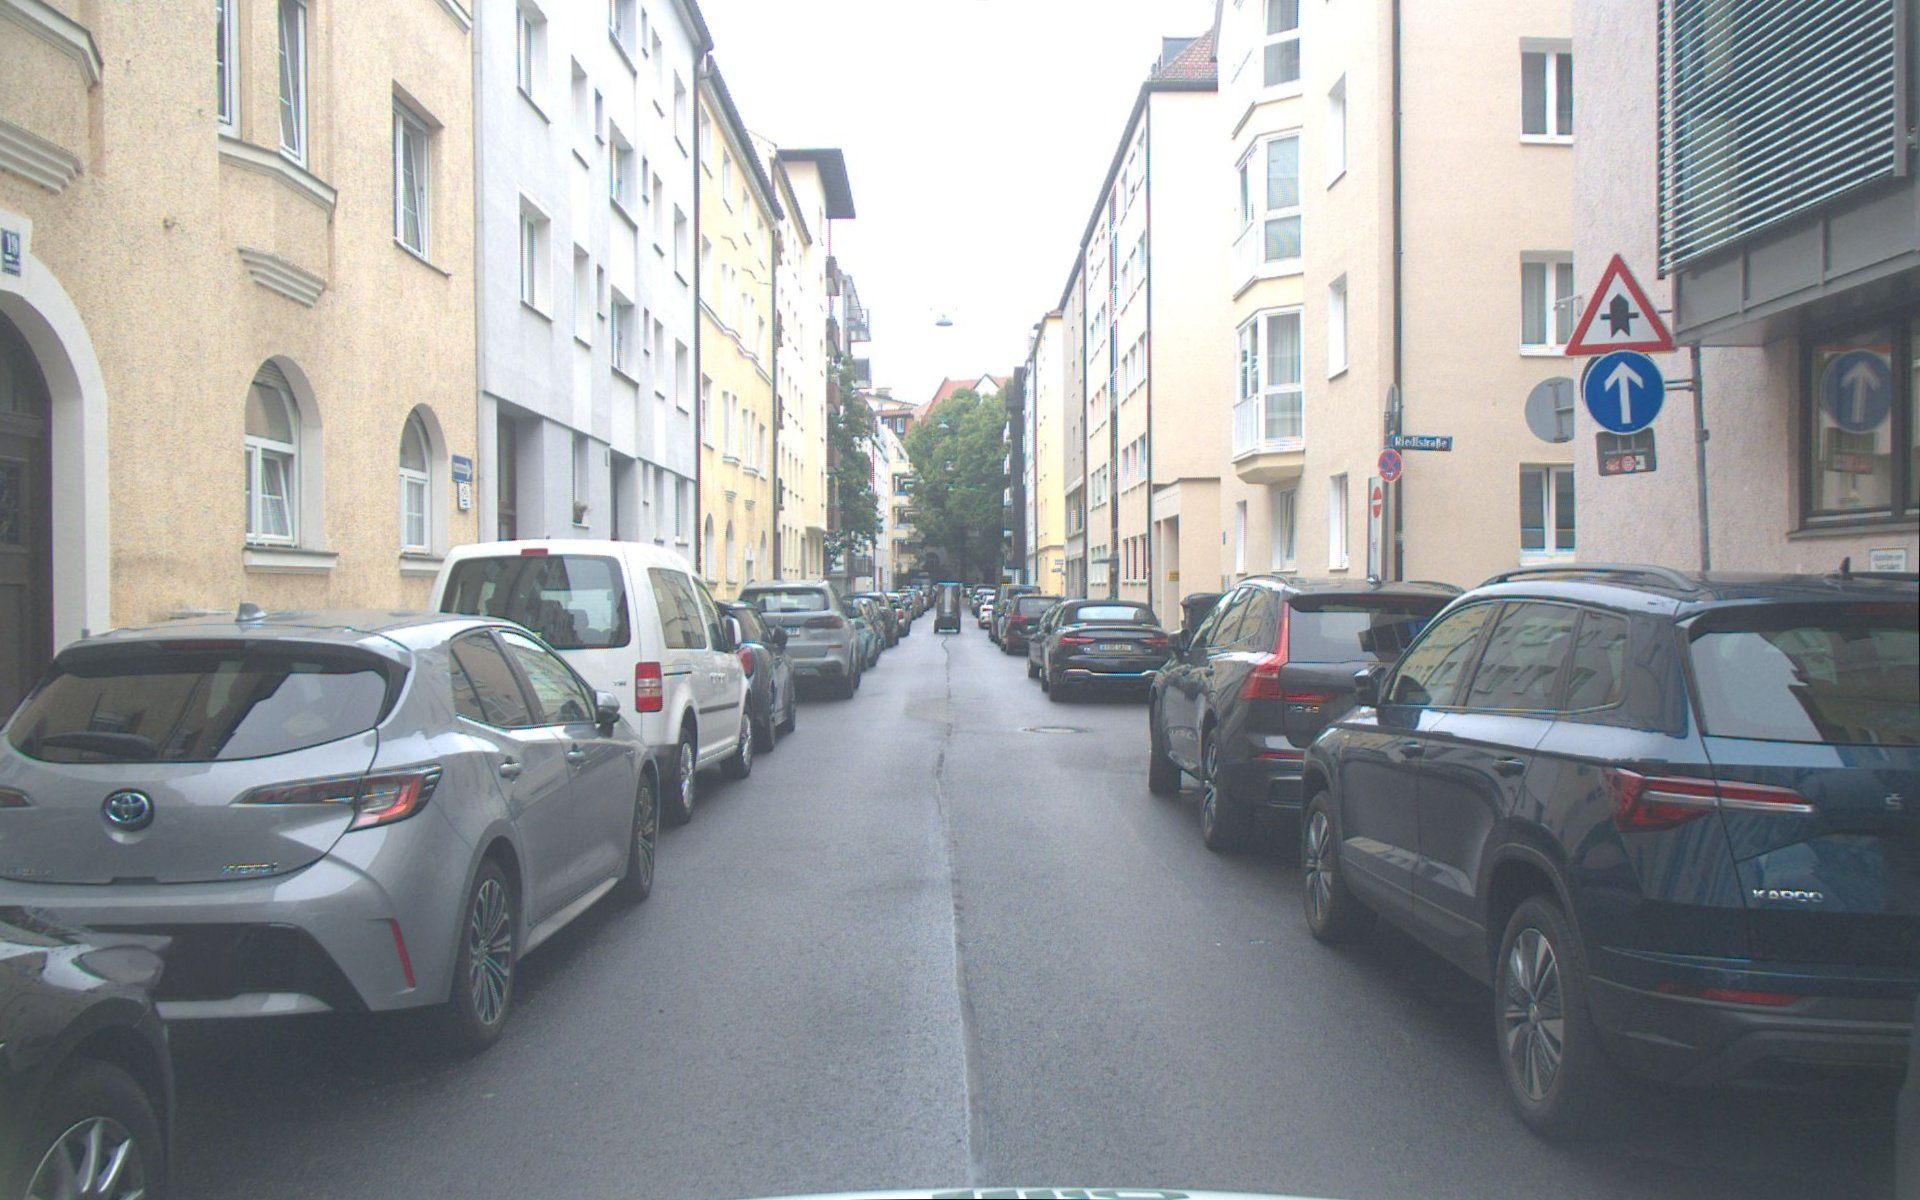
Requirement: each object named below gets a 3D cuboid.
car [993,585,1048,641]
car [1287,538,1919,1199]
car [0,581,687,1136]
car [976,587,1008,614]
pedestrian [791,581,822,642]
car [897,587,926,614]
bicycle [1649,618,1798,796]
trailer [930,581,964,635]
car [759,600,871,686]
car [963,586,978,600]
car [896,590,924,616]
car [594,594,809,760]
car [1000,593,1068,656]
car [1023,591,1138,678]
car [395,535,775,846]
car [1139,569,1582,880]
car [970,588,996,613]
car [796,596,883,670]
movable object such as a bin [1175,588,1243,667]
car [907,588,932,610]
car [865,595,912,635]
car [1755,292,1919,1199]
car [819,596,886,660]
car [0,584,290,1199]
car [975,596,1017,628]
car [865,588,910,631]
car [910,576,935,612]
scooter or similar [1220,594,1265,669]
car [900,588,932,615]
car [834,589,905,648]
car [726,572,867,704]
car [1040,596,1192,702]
[{"bbox_3d":[2.221,0.451,61.755,1.715,2.010,4.341,0,0,-2],"label":"car"},{"bbox_3d":[2.545,0.696,5.896,1.795,1.650,4.322,1,0,-1],"label":"car"},{"bbox_3d":[-2.295,0.757,6.705,1.637,1.501,4.111,-2,-1,0],"label":"car"},{"bbox_3d":[1.848,0.014,96.432,1.715,1.495,4.342,0,0,-1],"label":"car"},{"bbox_3d":[-4.595,0.331,49.496,0.822,1.795,1.067,0,0,-1],"label":"pedestrian"},{"bbox_3d":[-3.076,0.010,105.106,1.740,1.657,4.414,-1,1,-1],"label":"car"},{"bbox_3d":[5.384,0.718,11.737,0.349,1.141,1.543,0,0,0],"label":"bicycle"},{"bbox_3d":[-0.521,0.322,67.780,1.327,2.153,3.318,-1,-1,0],"label":"trailer"},{"bbox_3d":[-2.634,0.753,30.877,1.775,1.410,4.249,-2,0,-2],"label":"car"},{"bbox_3d":[1.163,-0.804,183.622,1.609,1.407,3.745,2,1,-1],"label":"car"},{"bbox_3d":[-2.994,0.145,99.340,1.659,1.467,3.976,-2,1,-2],"label":"car"},{"bbox_3d":[-2.523,0.722,16.908,1.618,1.436,3.734,-2,-1,-1],"label":"car"},{"bbox_3d":[2.026,0.658,46.108,1.676,1.636,4.244,1,0,0],"label":"car"},{"bbox_3d":[2.202,0.608,31.277,1.682,1.497,4.529,1,0,-2],"label":"car"},{"bbox_3d":[-2.515,0.548,12.164,1.688,1.820,4.249,-2,0,1],"label":"car"},{"bbox_3d":[2.394,0.676,11.088,1.795,1.650,4.410,1,0,-1],"label":"car"},{"bbox_3d":[1.482,0.041,106.956,1.647,1.595,4.416,0,0,0],"label":"car"},{"bbox_3d":[-2.554,0.673,35.670,1.530,1.486,3.405,-1,0,1],"label":"car"},{"bbox_3d":[4.817,0.516,32.049,1.011,1.448,1.586,-2,0,-1],"label":"movable object such as a bin"},{"bbox_3d":[-3.010,-0.107,123.351,1.741,1.478,4.046,-3,1,-1],"label":"car"},{"bbox_3d":[-2.712,0.542,63.500,1.618,1.461,3.802,-1,0,0],"label":"car"},{"bbox_3d":[2.629,0.482,0.908,1.835,2.049,5.105,1,-1,-1],"label":"car"},{"bbox_3d":[-2.674,0.671,41.673,1.531,1.486,3.762,-1,0,-2],"label":"car"},{"bbox_3d":[-2.270,0.767,1.717,1.595,1.501,3.841,-2,1,-1],"label":"car"},{"bbox_3d":[1.649,0.525,76.277,1.782,1.433,3.951,0,0,-1],"label":"car"},{"bbox_3d":[-2.975,0.391,68.992,1.730,1.704,4.366,-1,0,-1],"label":"car"},{"bbox_3d":[-3.112,-0.530,137.997,1.897,2.850,4.532,-3,1,-1],"label":"car"},{"bbox_3d":[5.062,0.556,29.703,0.564,1.288,1.136,-2,0,-1],"label":"scooter or similar"},{"bbox_3d":[-2.406,0.061,91.301,1.658,1.467,3.942,0,0,0],"label":"car"},{"bbox_3d":[-2.767,0.545,51.275,1.840,1.689,4.415,-1,0,1],"label":"car"},{"bbox_3d":[-2.453,0.539,25.885,1.825,1.800,4.734,-2,0,-2],"label":"car"},{"bbox_3d":[2.225,0.662,24.612,1.795,1.430,4.410,0,0,-1],"label":"car"}]
